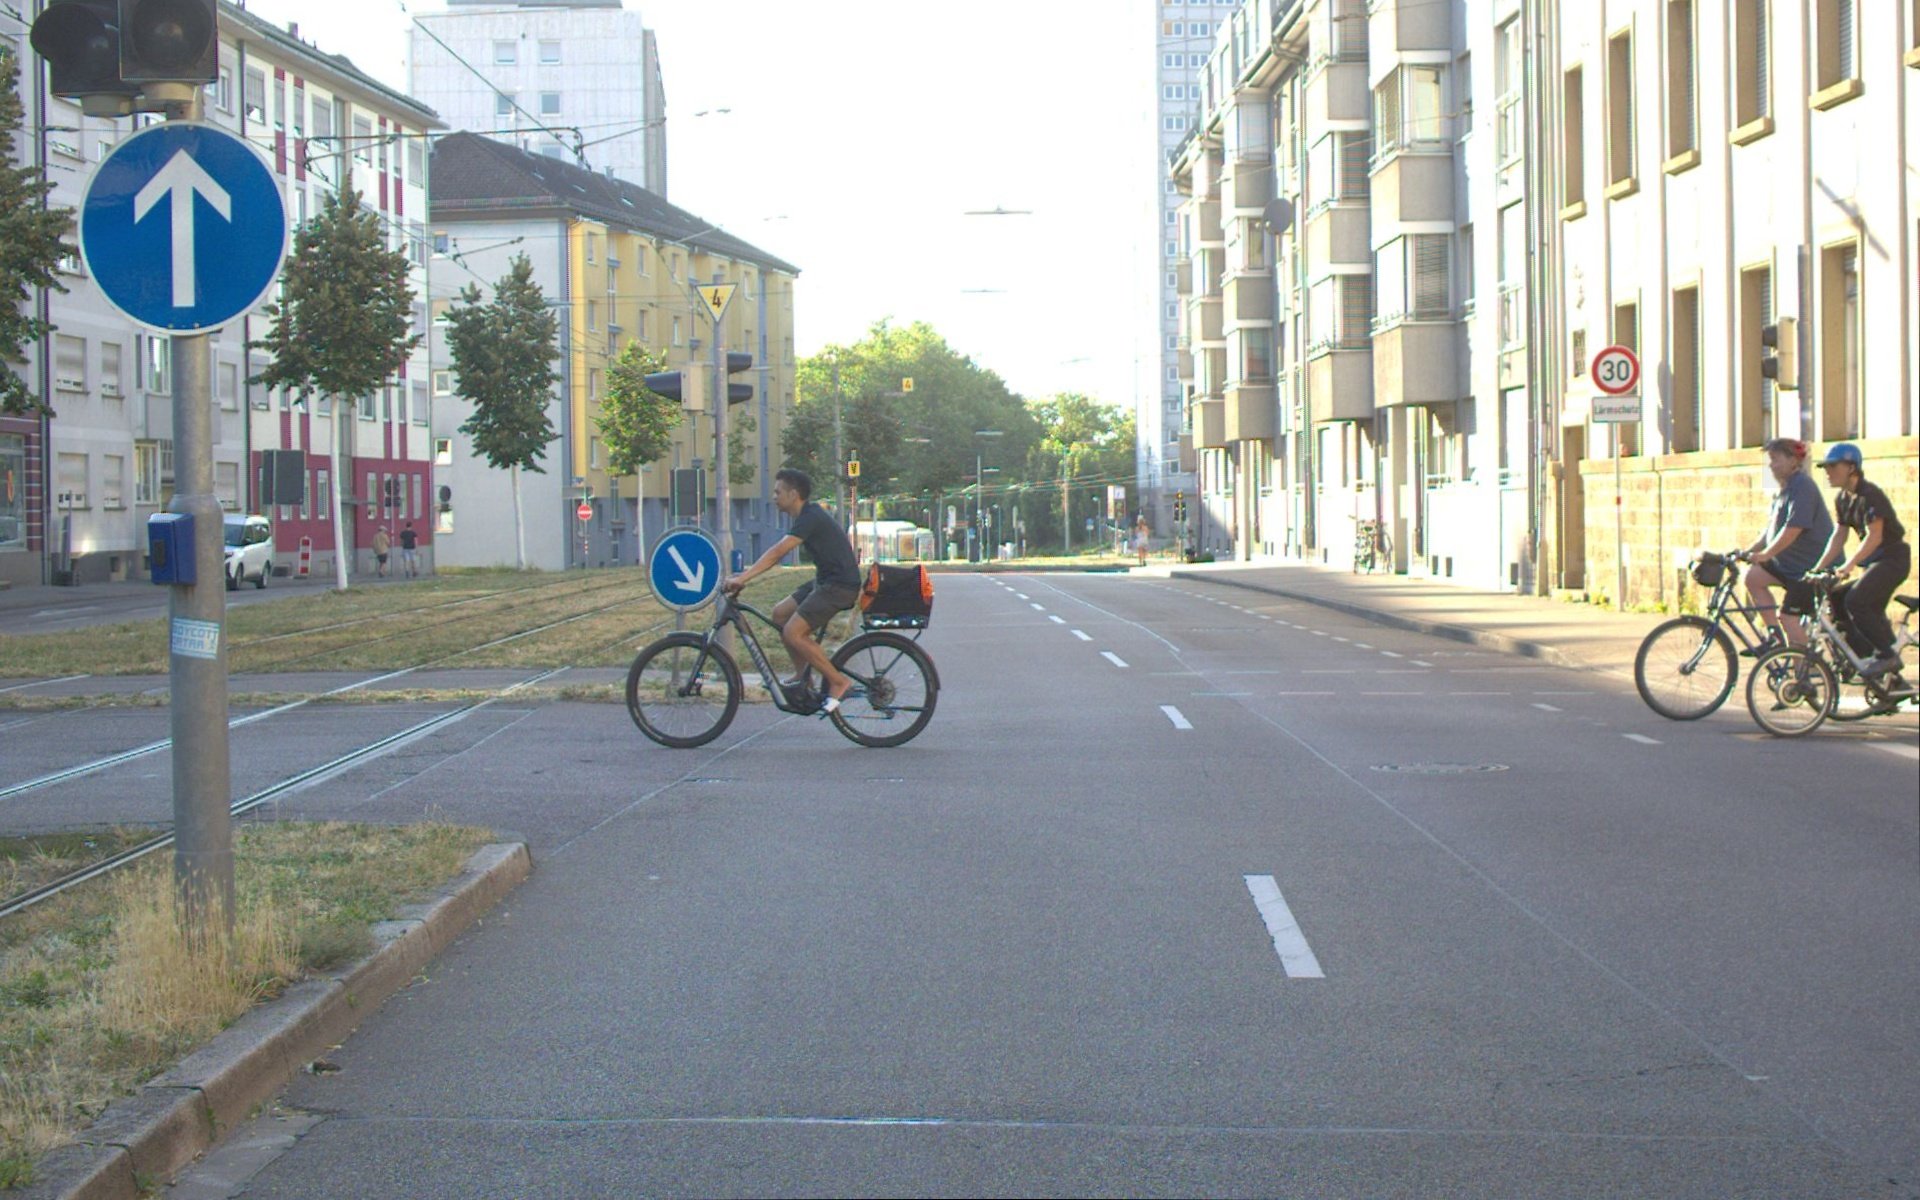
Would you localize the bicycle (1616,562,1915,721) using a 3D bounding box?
[{"bbox_3d":[5.623,0.286,24.034,1.943,1.090,0.575,0,1,-3],"label":"bicycle"}]

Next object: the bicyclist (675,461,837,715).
[{"bbox_3d":[-1.260,-0.080,21.126,0.903,1.521,0.648,-1,1,-10],"label":"bicyclist"}]

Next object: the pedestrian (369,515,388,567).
[{"bbox_3d":[-18.476,-1.866,109.194,0.495,1.652,0.408,-1,1,0],"label":"pedestrian"}]

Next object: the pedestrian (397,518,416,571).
[{"bbox_3d":[-17.614,-1.769,109.424,0.495,1.652,0.408,-1,1,0],"label":"pedestrian"}]

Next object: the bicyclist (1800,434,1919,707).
[{"bbox_3d":[6.018,-0.194,22.534,0.793,1.747,0.720,1,1,-2],"label":"bicyclist"}]

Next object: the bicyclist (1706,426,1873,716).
[{"bbox_3d":[5.802,-0.209,24.066,0.959,1.981,0.672,-1,1,-3],"label":"bicyclist"}]

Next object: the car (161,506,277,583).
[{"bbox_3d":[-18.031,-1.336,83.776,1.812,1.791,4.245,1,1,1],"label":"car"}]

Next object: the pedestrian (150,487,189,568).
[{"bbox_3d":[-19.889,-1.824,86.476,0.786,2.007,0.891,-1,1,-4],"label":"pedestrian"}]

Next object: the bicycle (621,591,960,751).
[{"bbox_3d":[-1.053,0.423,21.176,1.978,0.891,0.786,-2,1,-10],"label":"bicycle"}]

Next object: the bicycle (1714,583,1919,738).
[{"bbox_3d":[6.068,0.379,22.513,2.072,0.955,0.747,-1,1,-3],"label":"bicycle"}]
